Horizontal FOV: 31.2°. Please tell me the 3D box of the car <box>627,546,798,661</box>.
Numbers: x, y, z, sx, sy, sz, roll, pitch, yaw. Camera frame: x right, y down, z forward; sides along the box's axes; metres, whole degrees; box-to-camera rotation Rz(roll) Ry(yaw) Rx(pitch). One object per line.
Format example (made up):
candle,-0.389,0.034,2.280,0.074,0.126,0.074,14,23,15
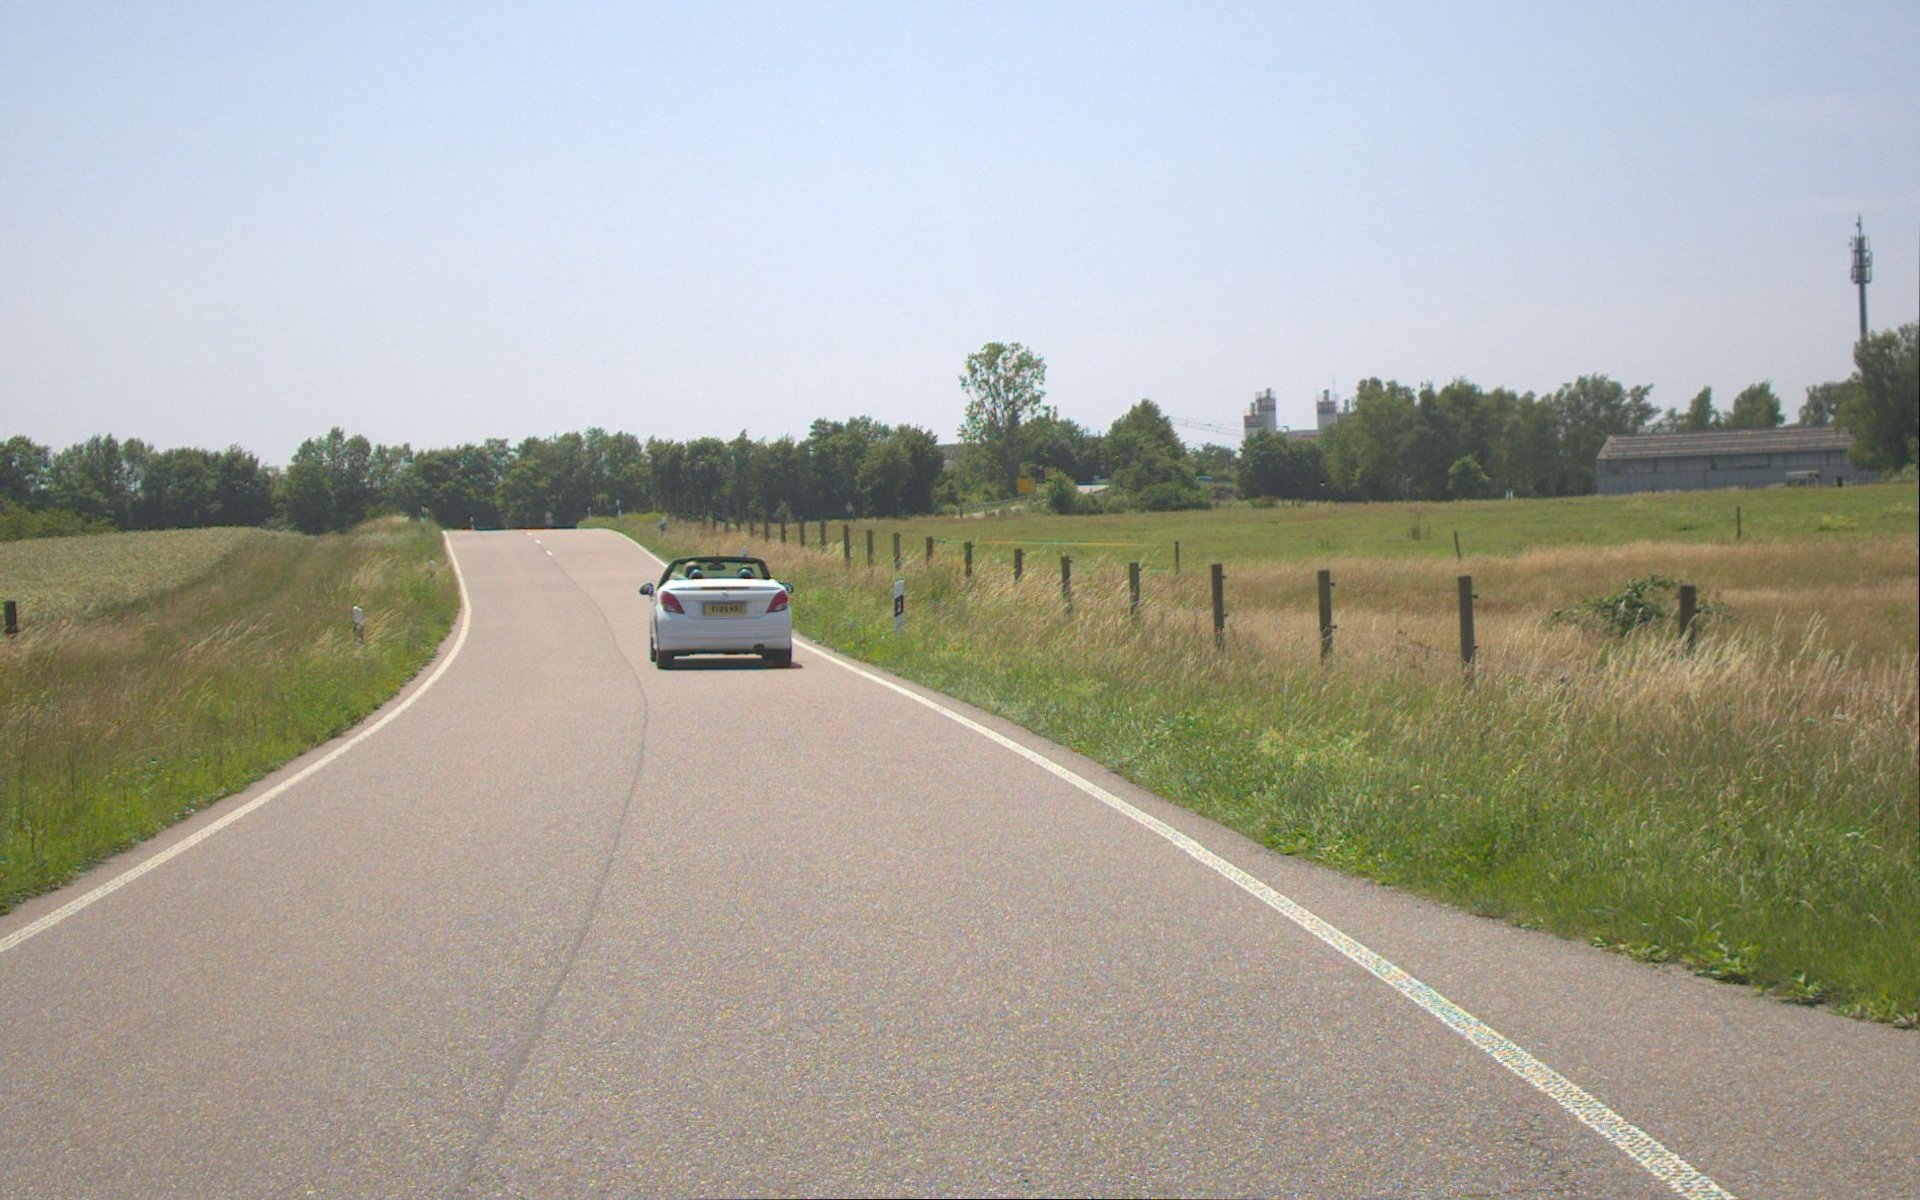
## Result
car,-3.209,0.006,43.907,1.850,1.374,4.001,0,1,-9
